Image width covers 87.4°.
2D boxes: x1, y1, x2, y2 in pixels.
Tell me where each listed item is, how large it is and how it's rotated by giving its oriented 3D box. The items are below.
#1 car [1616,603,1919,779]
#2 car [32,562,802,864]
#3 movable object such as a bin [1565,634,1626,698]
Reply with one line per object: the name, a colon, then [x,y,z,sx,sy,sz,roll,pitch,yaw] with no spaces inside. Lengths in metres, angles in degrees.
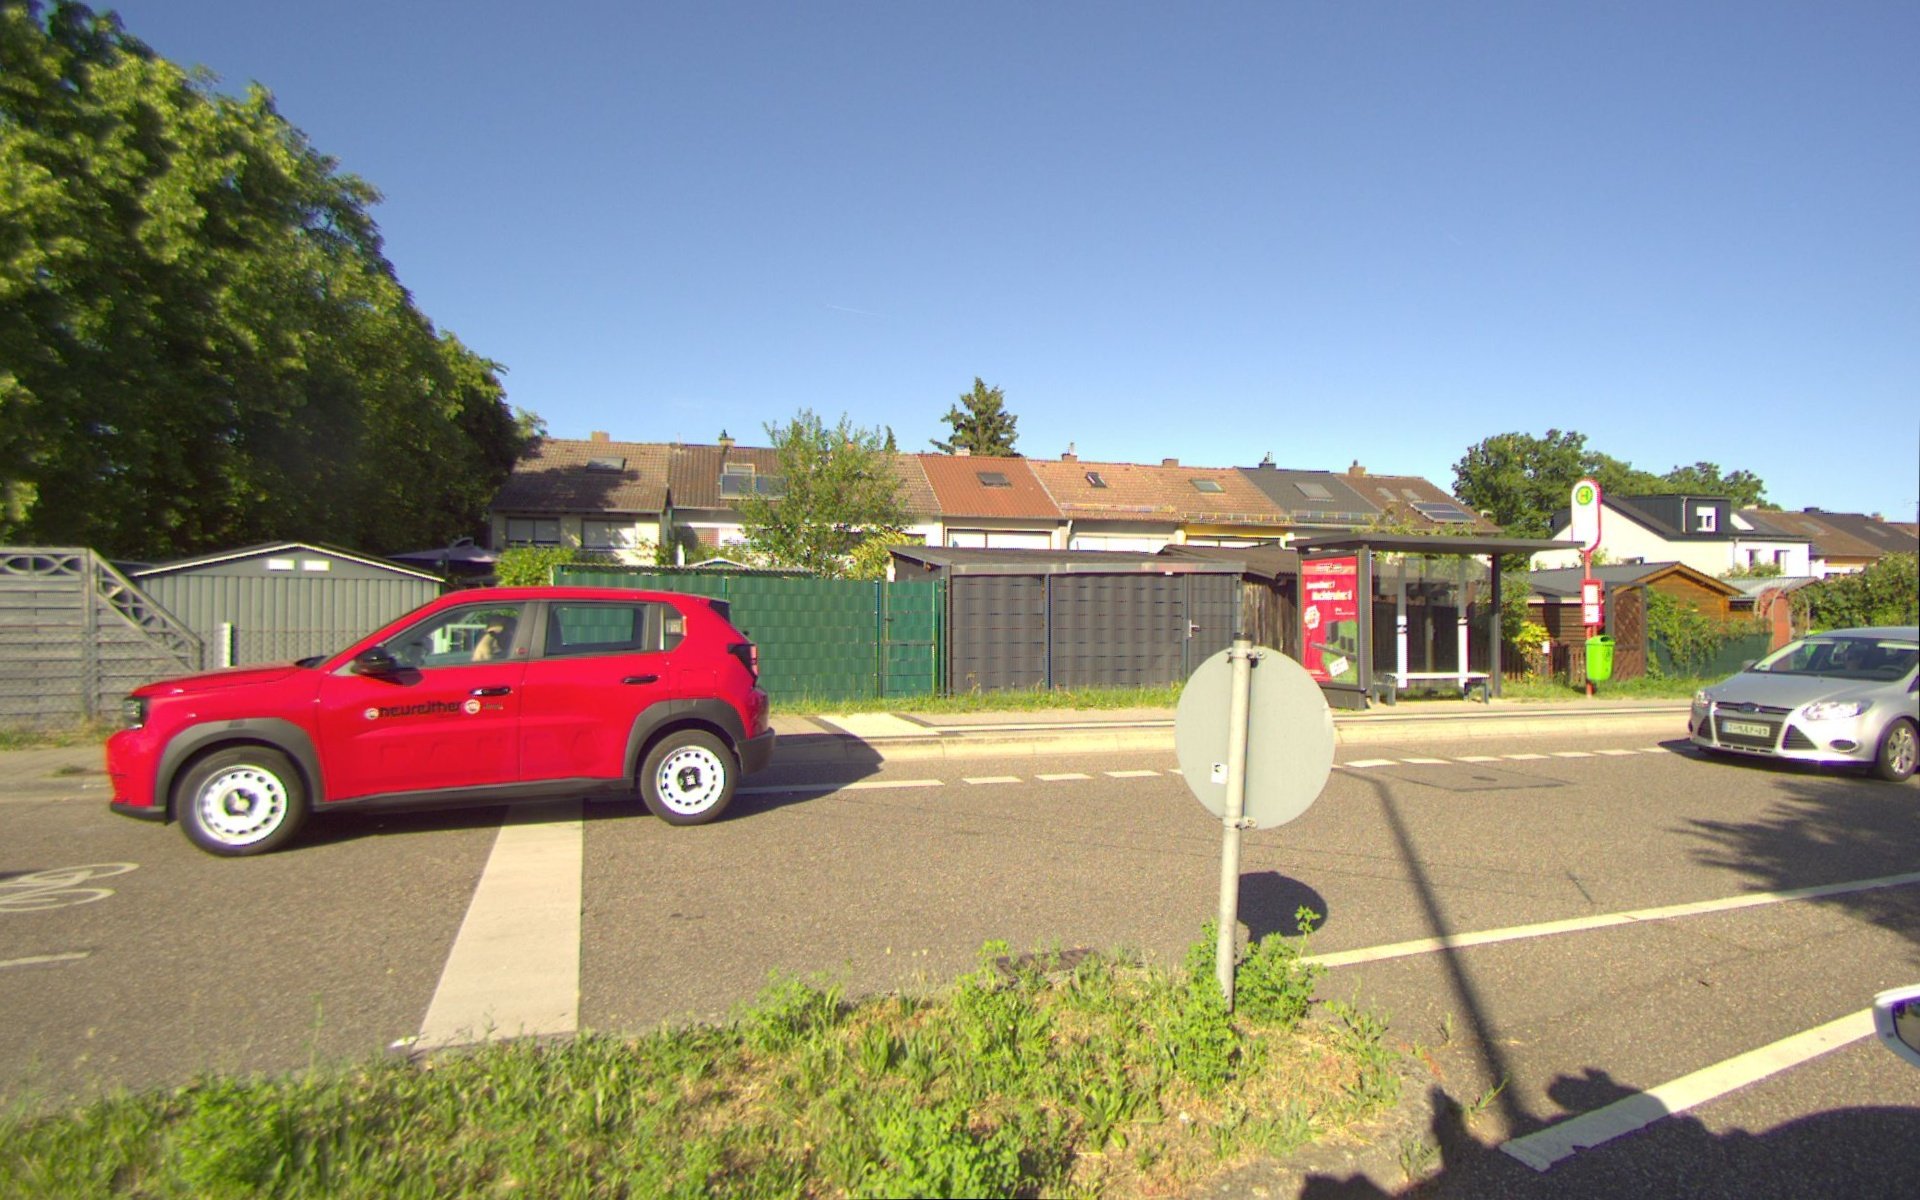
car: [9.857,0.893,11.006,4.463,1.612,2.207,1,-1,-19]
car: [-3.334,0.644,6.995,4.118,1.609,1.937,1,-1,-21]
movable object such as a bin: [10.509,1.083,16.618,0.550,0.981,0.592,1,3,-20]
